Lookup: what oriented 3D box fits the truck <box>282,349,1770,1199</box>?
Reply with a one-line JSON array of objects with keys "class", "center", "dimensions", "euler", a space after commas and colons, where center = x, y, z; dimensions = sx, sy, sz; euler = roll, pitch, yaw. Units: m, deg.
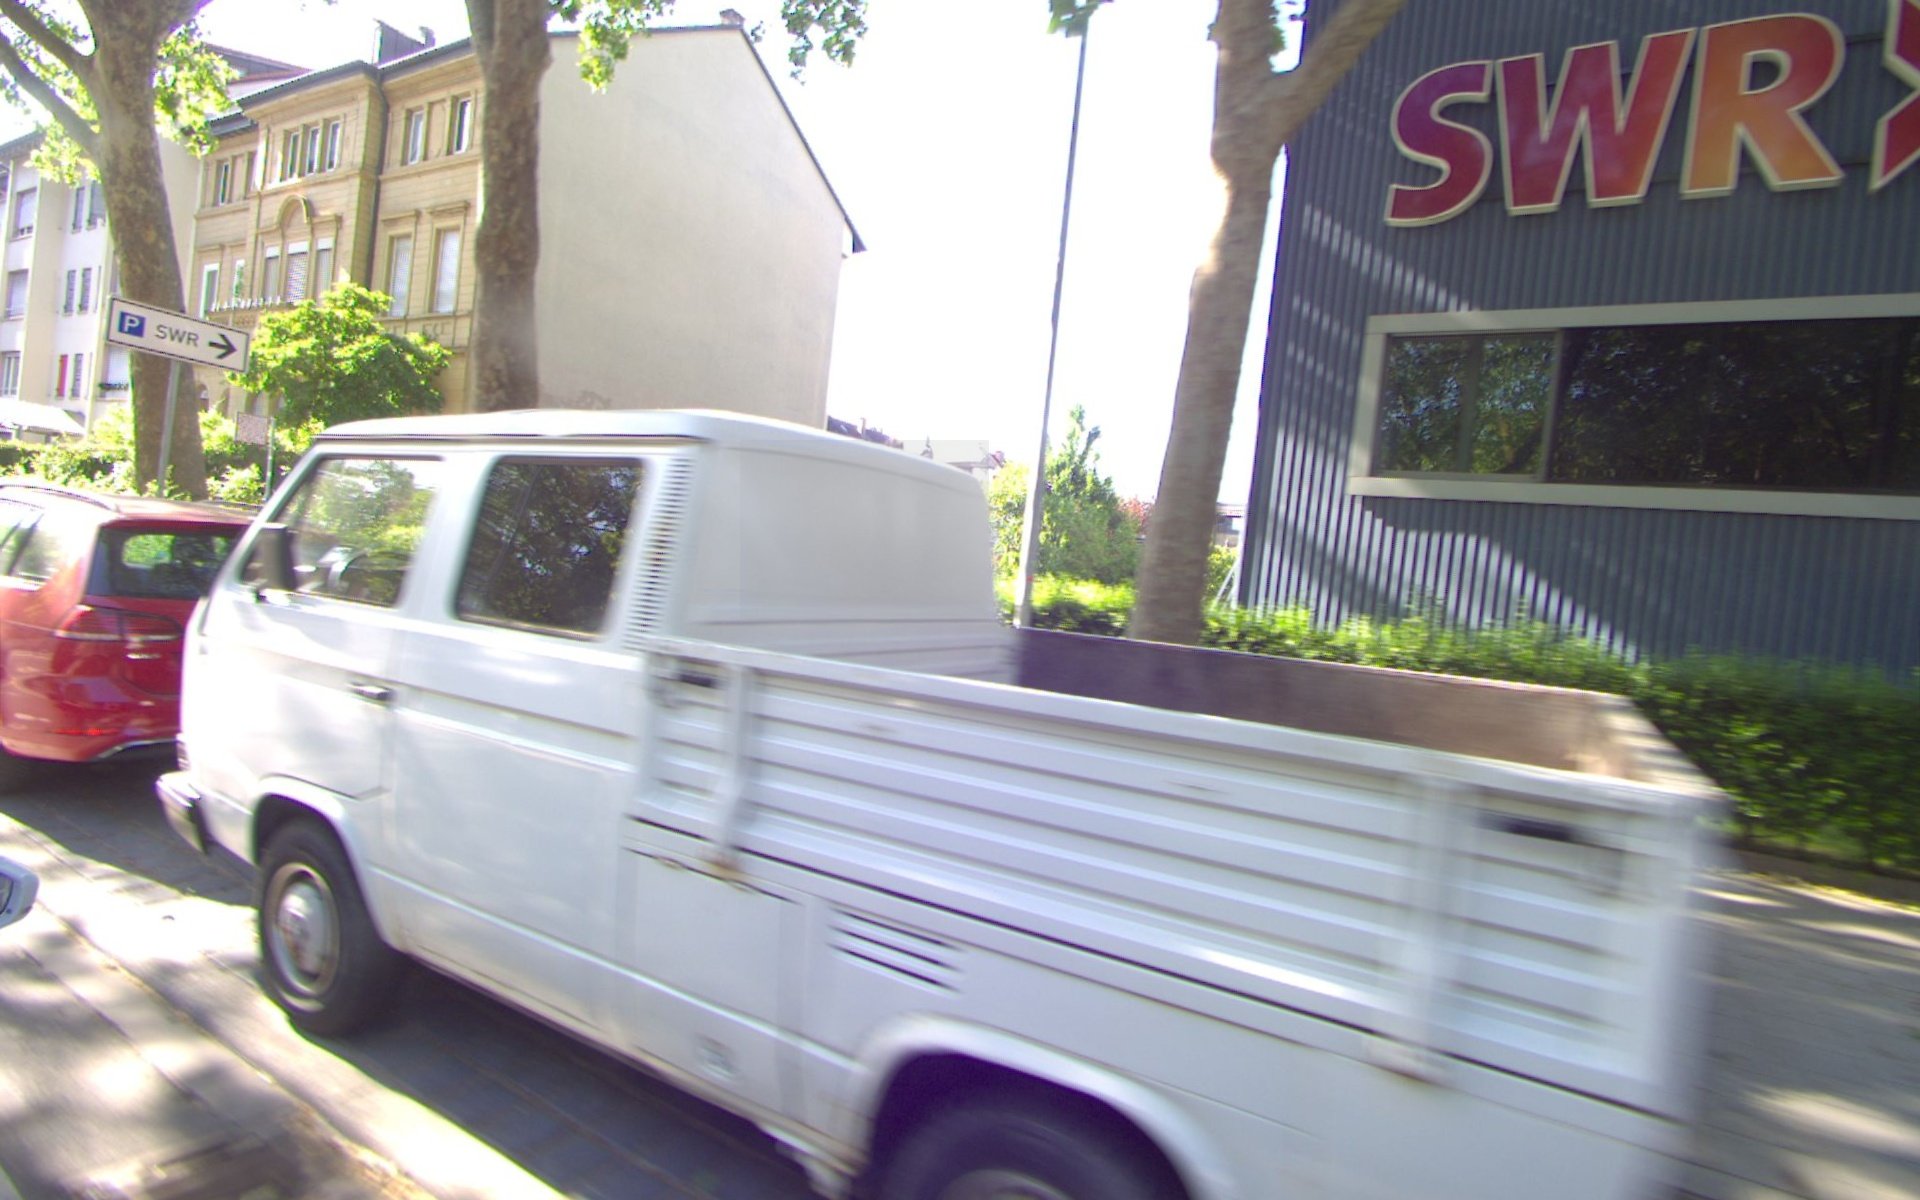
[{"class": "truck", "center": [-0.212, 0.403, 3.541], "dimensions": [4.380, 1.905, 1.878], "euler": [7, 1, 32]}]

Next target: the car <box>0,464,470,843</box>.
[{"class": "car", "center": [-5.206, 0.059, 6.061], "dimensions": [4.600, 1.527, 1.823], "euler": [6, 1, 32]}]

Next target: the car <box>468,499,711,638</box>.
[{"class": "car", "center": [-6.414, -0.504, 17.690], "dimensions": [3.444, 1.875, 1.710], "euler": [8, -1, -2]}]
